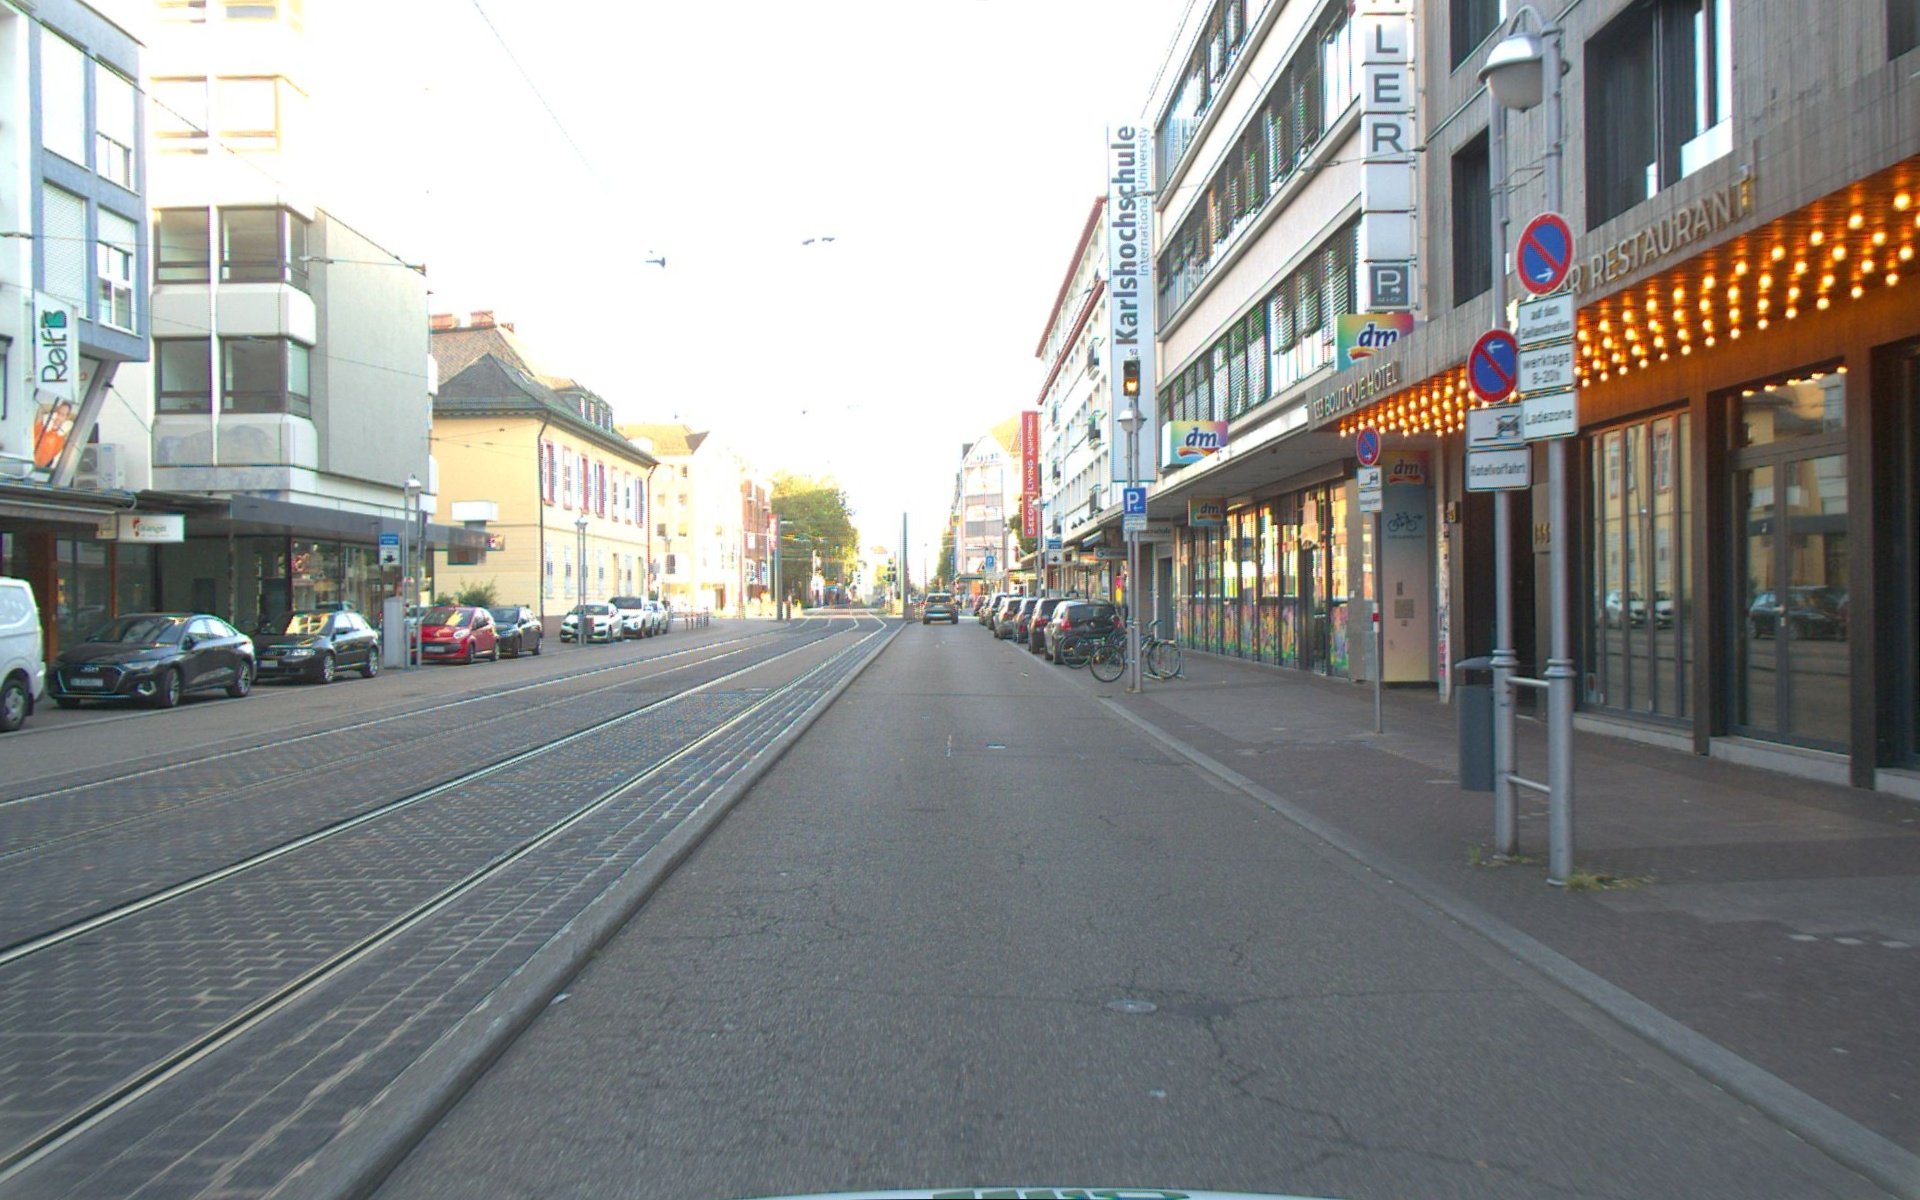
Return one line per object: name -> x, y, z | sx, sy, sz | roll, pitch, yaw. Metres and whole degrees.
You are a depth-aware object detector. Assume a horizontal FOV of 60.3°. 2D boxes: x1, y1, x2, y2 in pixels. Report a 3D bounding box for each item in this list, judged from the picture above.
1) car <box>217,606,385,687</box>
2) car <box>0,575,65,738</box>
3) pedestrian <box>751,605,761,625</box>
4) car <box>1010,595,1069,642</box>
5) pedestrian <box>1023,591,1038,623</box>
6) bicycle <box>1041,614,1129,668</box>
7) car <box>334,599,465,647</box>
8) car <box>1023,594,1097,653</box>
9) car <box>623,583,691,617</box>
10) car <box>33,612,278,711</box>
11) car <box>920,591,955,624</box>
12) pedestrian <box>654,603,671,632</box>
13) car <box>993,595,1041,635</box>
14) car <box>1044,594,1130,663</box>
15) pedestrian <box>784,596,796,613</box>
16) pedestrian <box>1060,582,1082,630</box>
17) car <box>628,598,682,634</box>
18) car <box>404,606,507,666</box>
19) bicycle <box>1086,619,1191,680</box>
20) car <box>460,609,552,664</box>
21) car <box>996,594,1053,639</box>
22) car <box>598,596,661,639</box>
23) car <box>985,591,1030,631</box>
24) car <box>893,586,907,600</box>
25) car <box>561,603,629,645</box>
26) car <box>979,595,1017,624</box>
car -> -13.265, 0.886, 33.564 | 1.753, 1.486, 4.091 | -1, 0, 0
car -> -12.967, 0.690, 19.720 | 1.924, 2.049, 5.097 | 1, 0, -2
pedestrian -> -14.230, 1.032, 115.435 | 0.650, 1.399, 0.651 | -1, 0, -4
car -> 2.630, 0.611, 55.295 | 1.691, 1.507, 3.999 | 1, 0, -1
pedestrian -> 3.572, 0.366, 83.831 | 0.718, 1.601, 0.966 | -1, 0, -2
bicycle -> 2.669, 0.865, 35.360 | 1.803, 1.129, 0.641 | 0, -1, -4
car -> -19.539, 0.793, 57.805 | 3.907, 1.580, 1.913 | 1, -1, -3
car -> 2.725, 0.640, 45.869 | 1.729, 1.540, 4.071 | 1, 0, -1
car -> -18.791, -0.013, 102.615 | 3.924, 2.049, 1.990 | -1, 0, -18
car -> -13.069, 0.942, 27.219 | 1.834, 1.452, 4.570 | 1, 0, -1
car -> -1.224, 0.446, 92.032 | 1.797, 1.665, 4.090 | -2, -2, 0
pedestrian -> -16.575, 0.968, 92.150 | 0.783, 1.569, 0.877 | 1, -1, 1
car -> 2.327, 0.581, 68.189 | 1.745, 1.549, 4.356 | 1, 0, -1
car -> 2.921, 0.650, 38.651 | 1.621, 1.488, 4.021 | 1, 0, -1
pedestrian -> -14.027, 0.381, 136.510 | 0.885, 1.399, 0.853 | -1, -1, -4
pedestrian -> 4.504, 0.245, 67.084 | 0.759, 1.913, 0.934 | -1, -1, -3
car -> -13.517, 0.686, 73.435 | 1.713, 1.500, 3.999 | 1, 0, -1
car -> -13.188, 0.914, 43.432 | 1.657, 1.459, 3.591 | 0, 0, -1
bicycle -> 3.192, 0.879, 29.588 | 1.759, 0.989, 0.575 | -3, 0, -4
car -> -13.270, 1.044, 48.563 | 1.657, 1.450, 3.964 | 1, 0, -1
car -> 2.329, 0.612, 60.877 | 1.755, 1.560, 4.855 | 1, 0, -2
car -> -13.673, 0.692, 68.655 | 1.849, 1.690, 4.758 | 1, 0, -3
car -> 2.133, 0.504, 75.766 | 1.818, 1.730, 4.416 | 1, 0, -1
car -> -8.939, -1.060, 247.636 | 1.915, 2.049, 3.999 | 1, 0, -1
car -> -13.745, 0.884, 62.447 | 1.686, 1.478, 4.282 | 1, 0, -2
car -> 1.985, 0.497, 87.032 | 1.754, 1.437, 4.686 | 1, 0, -1
